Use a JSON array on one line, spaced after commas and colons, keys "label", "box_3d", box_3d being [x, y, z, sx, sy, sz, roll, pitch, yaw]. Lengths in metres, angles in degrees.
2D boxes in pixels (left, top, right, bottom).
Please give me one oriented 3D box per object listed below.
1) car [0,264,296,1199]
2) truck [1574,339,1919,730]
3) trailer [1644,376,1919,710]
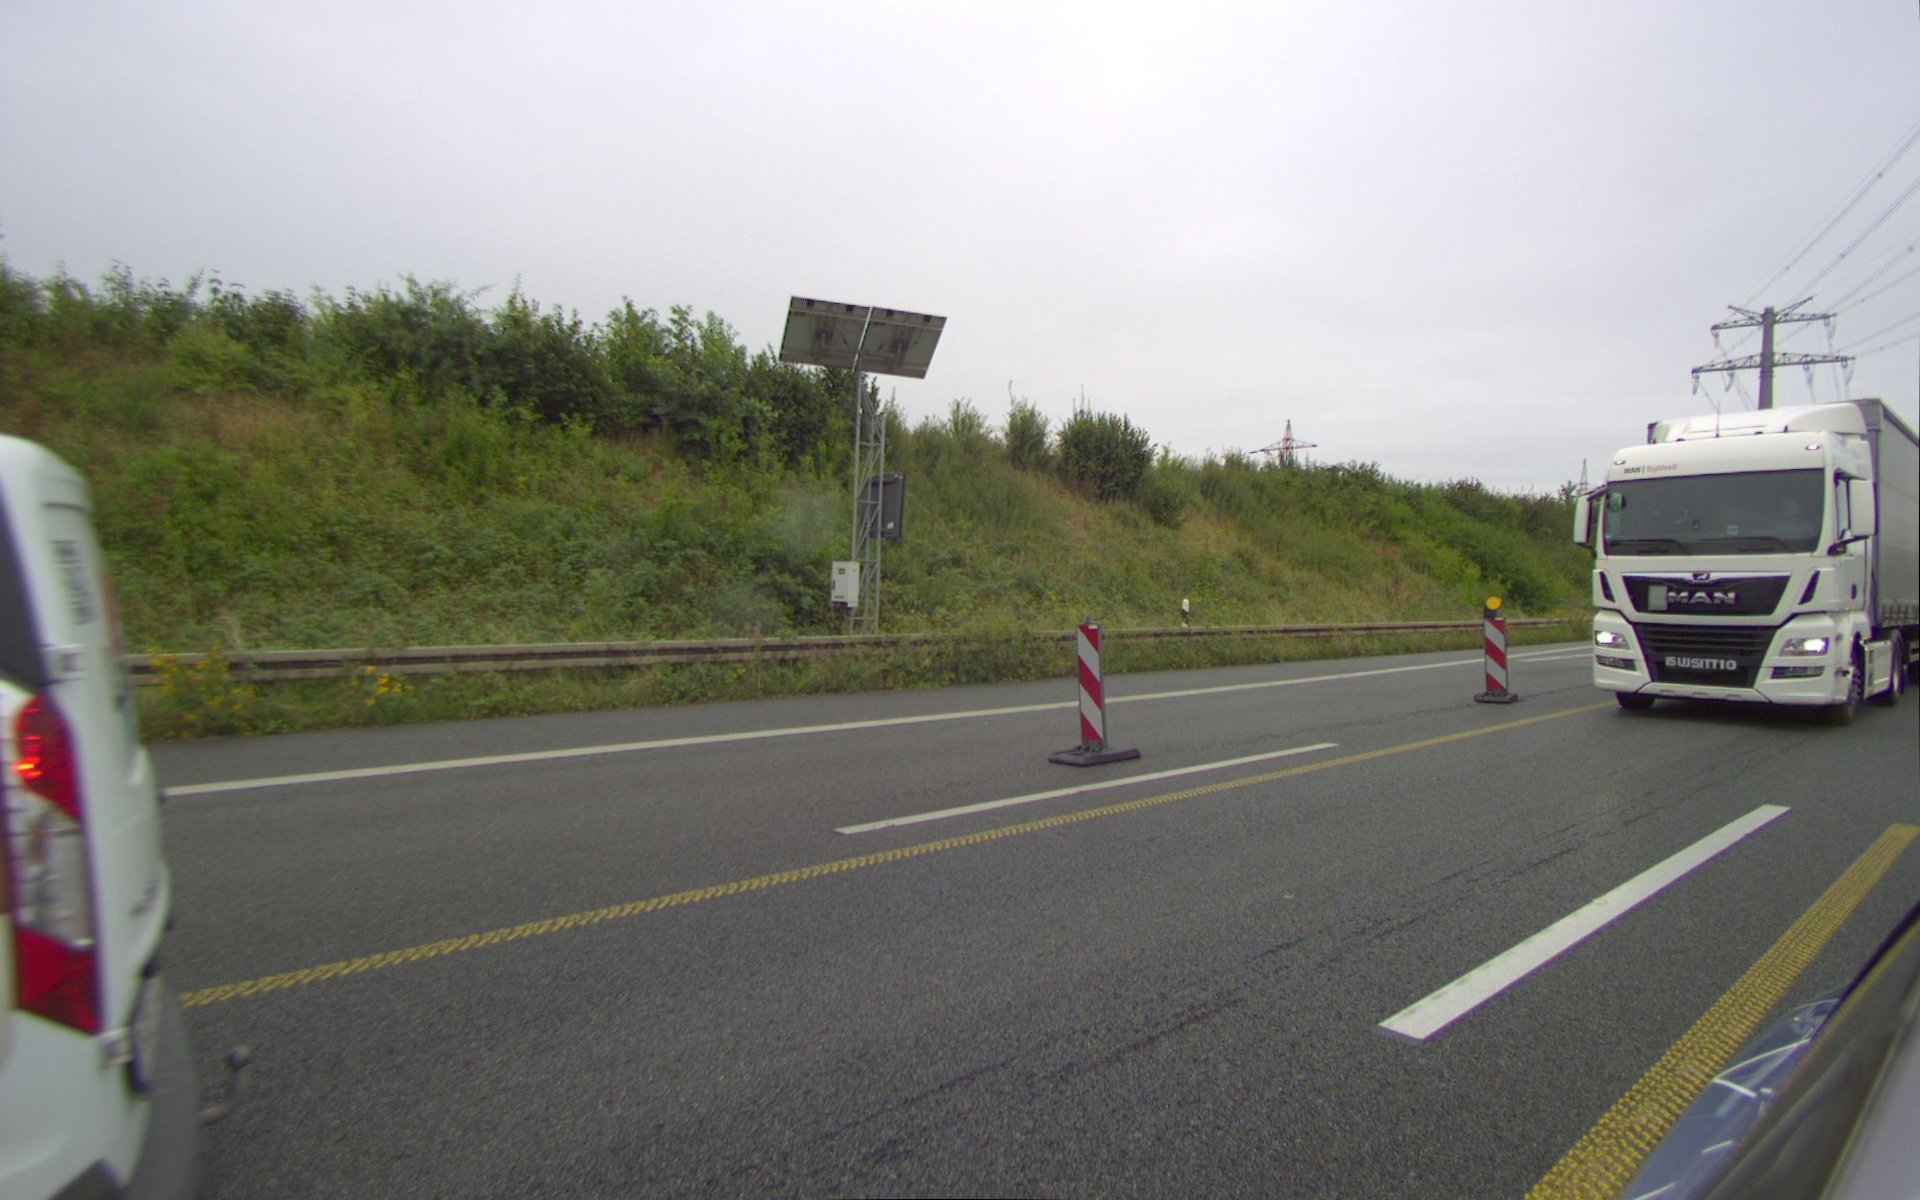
[{"label": "car", "box_3d": [-3.395, 0.452, 0.834, 4.574, 1.862, 1.832, 0, 1, -41]}, {"label": "truck", "box_3d": [10.839, -0.727, 13.710, 5.591, 4.190, 2.711, 0, 1, -41]}, {"label": "trailer", "box_3d": [15.975, -0.752, 18.178, 13.491, 4.198, 2.711, 0, 1, -41]}]
